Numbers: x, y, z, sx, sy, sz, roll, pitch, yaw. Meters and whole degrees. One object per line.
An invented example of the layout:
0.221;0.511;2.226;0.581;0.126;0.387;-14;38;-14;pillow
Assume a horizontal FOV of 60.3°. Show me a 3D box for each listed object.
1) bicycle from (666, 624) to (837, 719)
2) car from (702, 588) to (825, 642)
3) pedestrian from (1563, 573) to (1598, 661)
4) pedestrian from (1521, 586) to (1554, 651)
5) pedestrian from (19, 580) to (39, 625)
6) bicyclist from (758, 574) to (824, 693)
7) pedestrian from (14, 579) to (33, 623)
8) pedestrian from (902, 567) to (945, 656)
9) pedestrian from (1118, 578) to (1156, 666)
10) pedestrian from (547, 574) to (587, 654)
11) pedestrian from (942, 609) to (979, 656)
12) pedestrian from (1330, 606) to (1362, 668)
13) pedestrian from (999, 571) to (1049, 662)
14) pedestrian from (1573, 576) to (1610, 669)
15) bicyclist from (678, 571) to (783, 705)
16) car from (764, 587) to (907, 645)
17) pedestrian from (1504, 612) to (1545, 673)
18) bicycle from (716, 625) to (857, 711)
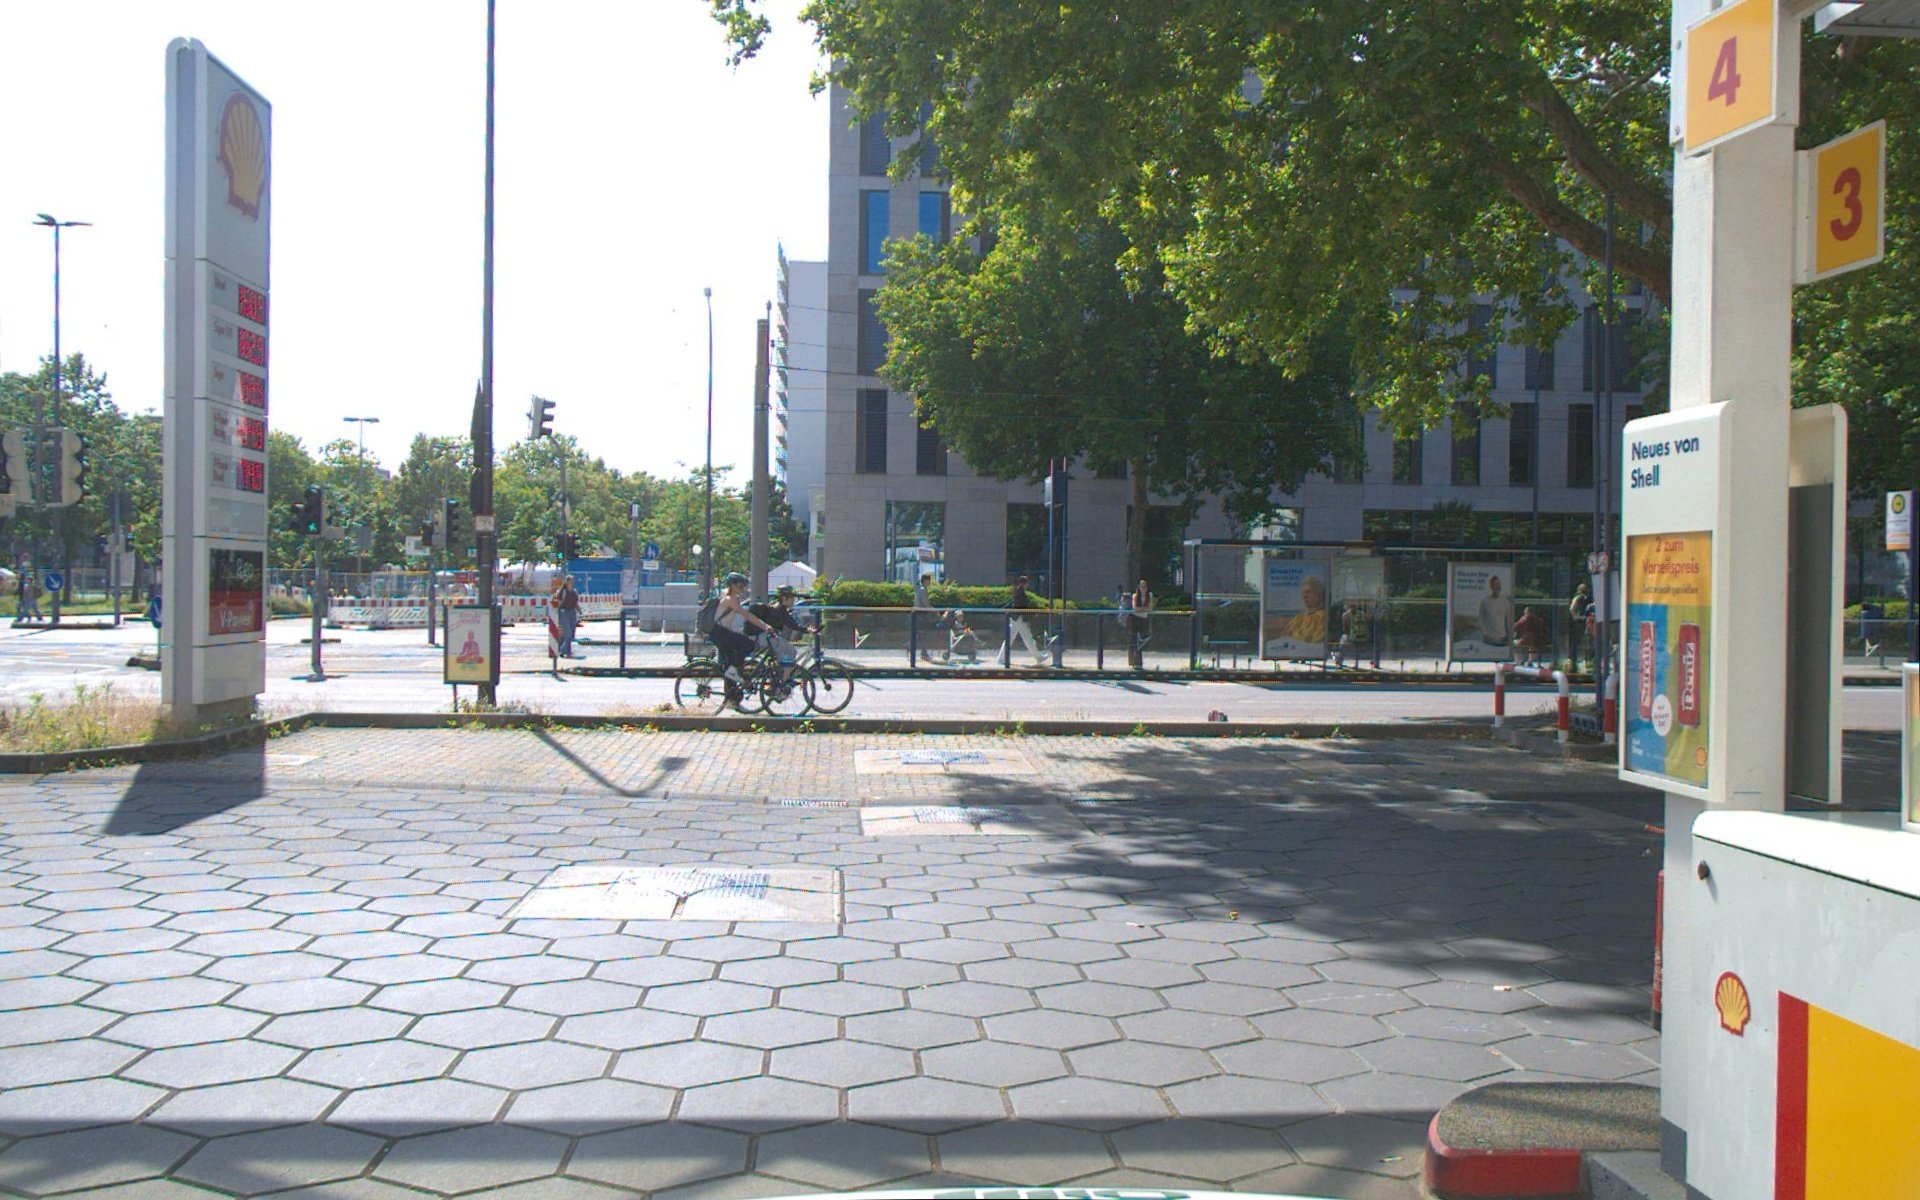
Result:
-2.552;0.867;20.345;1.977;1.101;0.640;1;0;4;bicycle
-5.977;0.452;50.203;3.615;1.579;1.588;1;0;-10;car
12.583;0.335;33.564;0.489;1.766;0.524;1;0;-2;pedestrian
11.154;0.353;31.949;0.489;1.241;0.406;1;0;-2;pedestrian
-31.290;0.071;55.589;0.557;1.494;0.509;1;0;-29;pedestrian
-2.253;0.446;22.138;0.846;1.571;0.534;1;0;-5;bicyclist
-32.046;0.047;56.595;0.557;1.494;0.509;1;0;-29;pedestrian
-0.703;0.215;32.193;0.760;1.712;0.503;1;0;4;pedestrian
3.335;0.407;31.148;0.572;1.619;0.669;1;2;-5;pedestrian
-7.846;0.272;33.054;0.636;1.567;0.503;1;0;4;pedestrian
0.010;0.628;32.135;0.676;0.895;0.503;1;0;4;pedestrian
7.389;0.707;31.648;0.488;1.157;0.524;1;0;2;pedestrian
1.216;0.307;31.557;0.912;1.712;0.503;1;0;4;pedestrian
12.220;0.431;32.019;0.489;1.766;0.524;1;0;-2;pedestrian
-2.816;0.461;20.361;1.145;1.608;0.640;1;0;4;bicyclist
-3.568;0.451;47.216;3.914;1.579;1.699;1;0;-10;car
10.922;0.816;32.027;0.615;1.157;0.524;1;0;2;pedestrian
-2.309;0.906;22.080;1.825;1.101;0.524;1;0;-6;bicycle
